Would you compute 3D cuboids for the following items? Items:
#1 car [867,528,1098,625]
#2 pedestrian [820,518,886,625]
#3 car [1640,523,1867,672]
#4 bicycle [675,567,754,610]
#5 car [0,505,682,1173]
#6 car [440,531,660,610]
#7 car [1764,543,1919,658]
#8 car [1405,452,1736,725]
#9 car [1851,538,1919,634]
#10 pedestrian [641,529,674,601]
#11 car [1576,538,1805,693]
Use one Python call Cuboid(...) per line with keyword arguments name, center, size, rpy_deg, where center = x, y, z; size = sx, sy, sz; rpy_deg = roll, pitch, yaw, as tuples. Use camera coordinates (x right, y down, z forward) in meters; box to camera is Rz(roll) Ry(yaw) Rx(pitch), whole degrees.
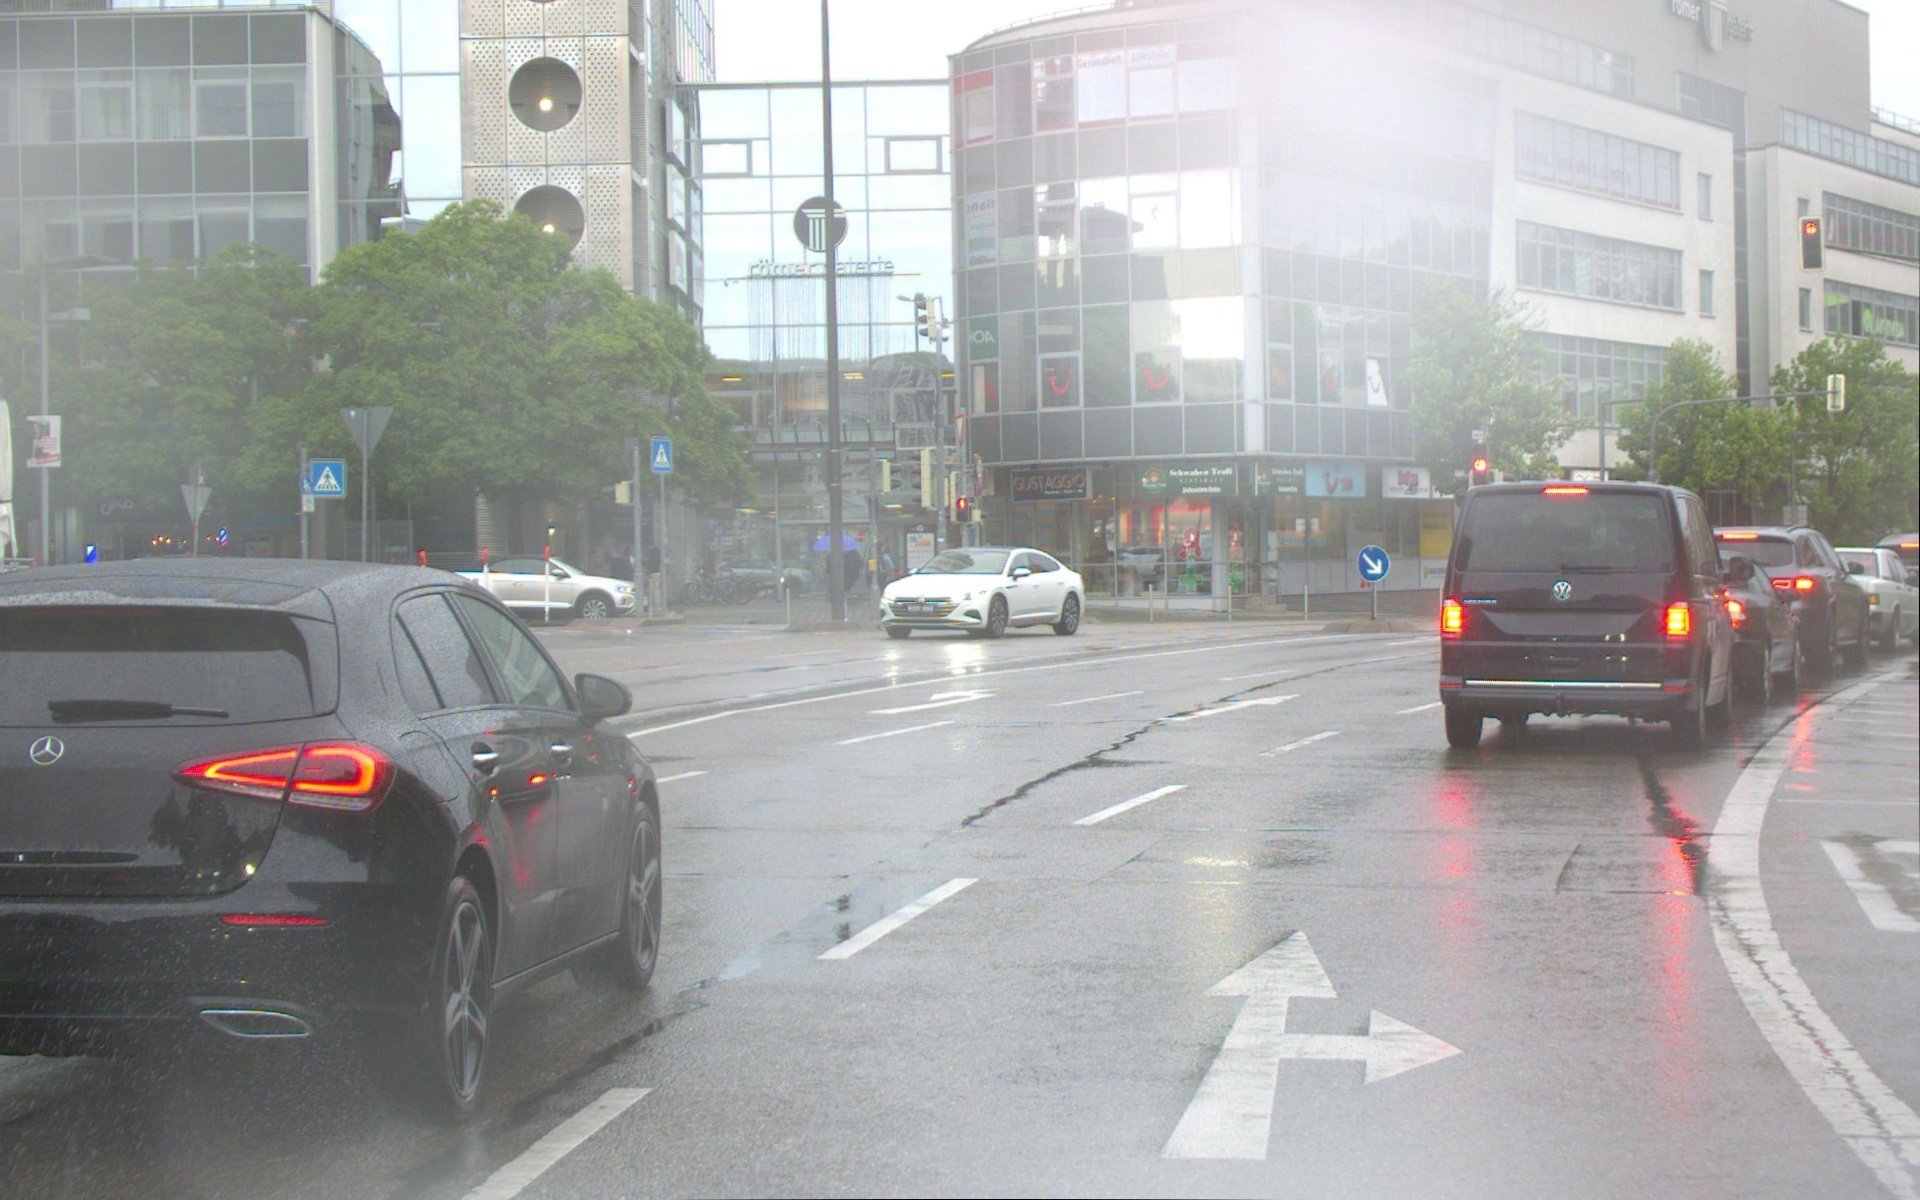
Cuboid(name="car", center=(0.416, -0.394, 54.558), size=(1.844, 1.455, 4.802), rpy_deg=(1, 1, 25))
Cuboid(name="pedestrian", center=(-2.031, -0.539, 65.170), size=(1.162, 2.007, 1.329), rpy_deg=(0, 1, -6))
Cuboid(name="car", center=(9.189, -0.068, 39.586), size=(1.903, 1.615, 4.330), rpy_deg=(0, 1, 22))
Cuboid(name="bicycle", center=(-7.290, -0.352, 102.222), size=(2.273, 1.242, 0.676), rpy_deg=(-1, 0, 0))
Cuboid(name="car", center=(-2.021, 0.506, 10.008), size=(1.816, 1.524, 3.812), rpy_deg=(1, 2, 4))
Cuboid(name="car", center=(-8.466, -0.621, 71.100), size=(4.193, 1.590, 1.870), rpy_deg=(0, 1, 7))
Cuboid(name="car", center=(11.926, -0.022, 45.986), size=(1.636, 1.443, 4.264), rpy_deg=(1, 1, 22))
Cuboid(name="car", center=(4.755, -0.099, 26.257), size=(1.997, 1.887, 4.583), rpy_deg=(0, 0, 16))
Cuboid(name="car", center=(14.674, -0.226, 51.763), size=(1.914, 1.395, 3.453), rpy_deg=(0, 1, 24))
Cuboid(name="pedestrian", center=(-8.439, -0.974, 95.873), size=(0.762, 2.007, 0.714), rpy_deg=(0, 1, -19))
Cuboid(name="car", center=(7.104, 0.098, 33.123), size=(1.633, 1.381, 4.511), rpy_deg=(0, 1, 19))
